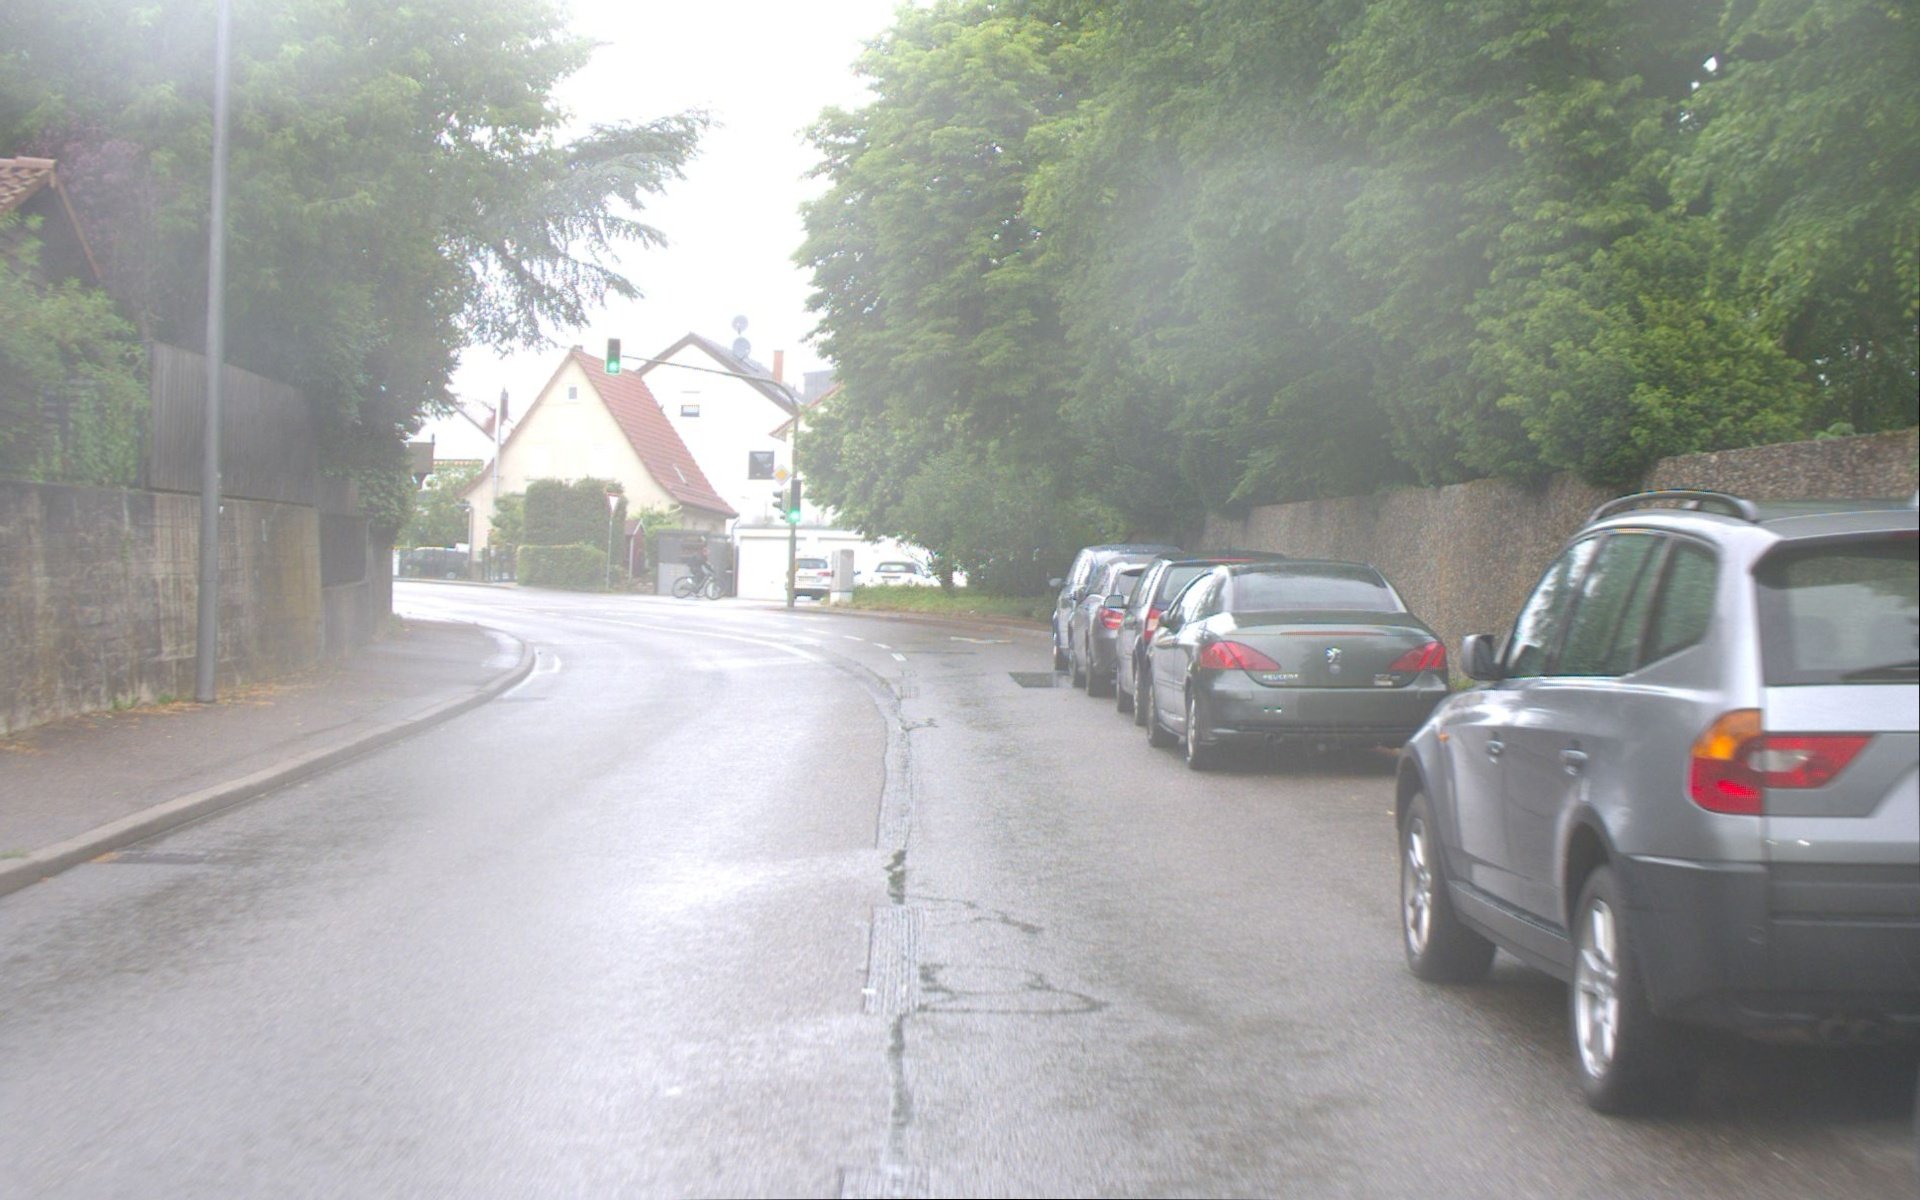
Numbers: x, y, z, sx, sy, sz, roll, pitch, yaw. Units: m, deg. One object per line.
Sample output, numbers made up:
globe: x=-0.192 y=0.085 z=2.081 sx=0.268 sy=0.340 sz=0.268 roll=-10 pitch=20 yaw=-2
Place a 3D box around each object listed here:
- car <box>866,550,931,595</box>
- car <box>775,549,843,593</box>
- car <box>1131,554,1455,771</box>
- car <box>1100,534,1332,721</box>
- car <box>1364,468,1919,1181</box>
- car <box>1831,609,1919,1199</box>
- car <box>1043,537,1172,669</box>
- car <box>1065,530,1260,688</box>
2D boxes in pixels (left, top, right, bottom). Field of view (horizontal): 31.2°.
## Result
car: x=-2.037 y=-0.927 z=114.431 sx=1.907 sy=1.437 sz=4.000 roll=1 pitch=1 yaw=2
car: x=-5.018 y=-0.980 z=114.839 sx=1.907 sy=1.437 sz=4.000 roll=1 pitch=1 yaw=2
car: x=2.255 y=0.378 z=24.268 sx=1.651 sy=1.367 sz=4.182 roll=0 pitch=1 yaw=-3
car: x=2.168 y=0.229 z=29.962 sx=1.647 sy=1.492 sz=3.709 roll=1 pitch=0 yaw=-1
car: x=2.465 y=0.511 z=10.308 sx=1.742 sy=1.662 sz=4.498 roll=0 pitch=0 yaw=-3
car: x=2.669 y=0.767 z=4.220 sx=1.764 sy=1.442 sz=4.697 roll=0 pitch=0 yaw=-3
car: x=1.739 y=0.037 z=41.260 sx=1.302 sy=1.492 sz=3.364 roll=1 pitch=0 yaw=-1
car: x=2.034 y=0.092 z=35.492 sx=1.647 sy=1.492 sz=4.246 roll=1 pitch=0 yaw=-1
